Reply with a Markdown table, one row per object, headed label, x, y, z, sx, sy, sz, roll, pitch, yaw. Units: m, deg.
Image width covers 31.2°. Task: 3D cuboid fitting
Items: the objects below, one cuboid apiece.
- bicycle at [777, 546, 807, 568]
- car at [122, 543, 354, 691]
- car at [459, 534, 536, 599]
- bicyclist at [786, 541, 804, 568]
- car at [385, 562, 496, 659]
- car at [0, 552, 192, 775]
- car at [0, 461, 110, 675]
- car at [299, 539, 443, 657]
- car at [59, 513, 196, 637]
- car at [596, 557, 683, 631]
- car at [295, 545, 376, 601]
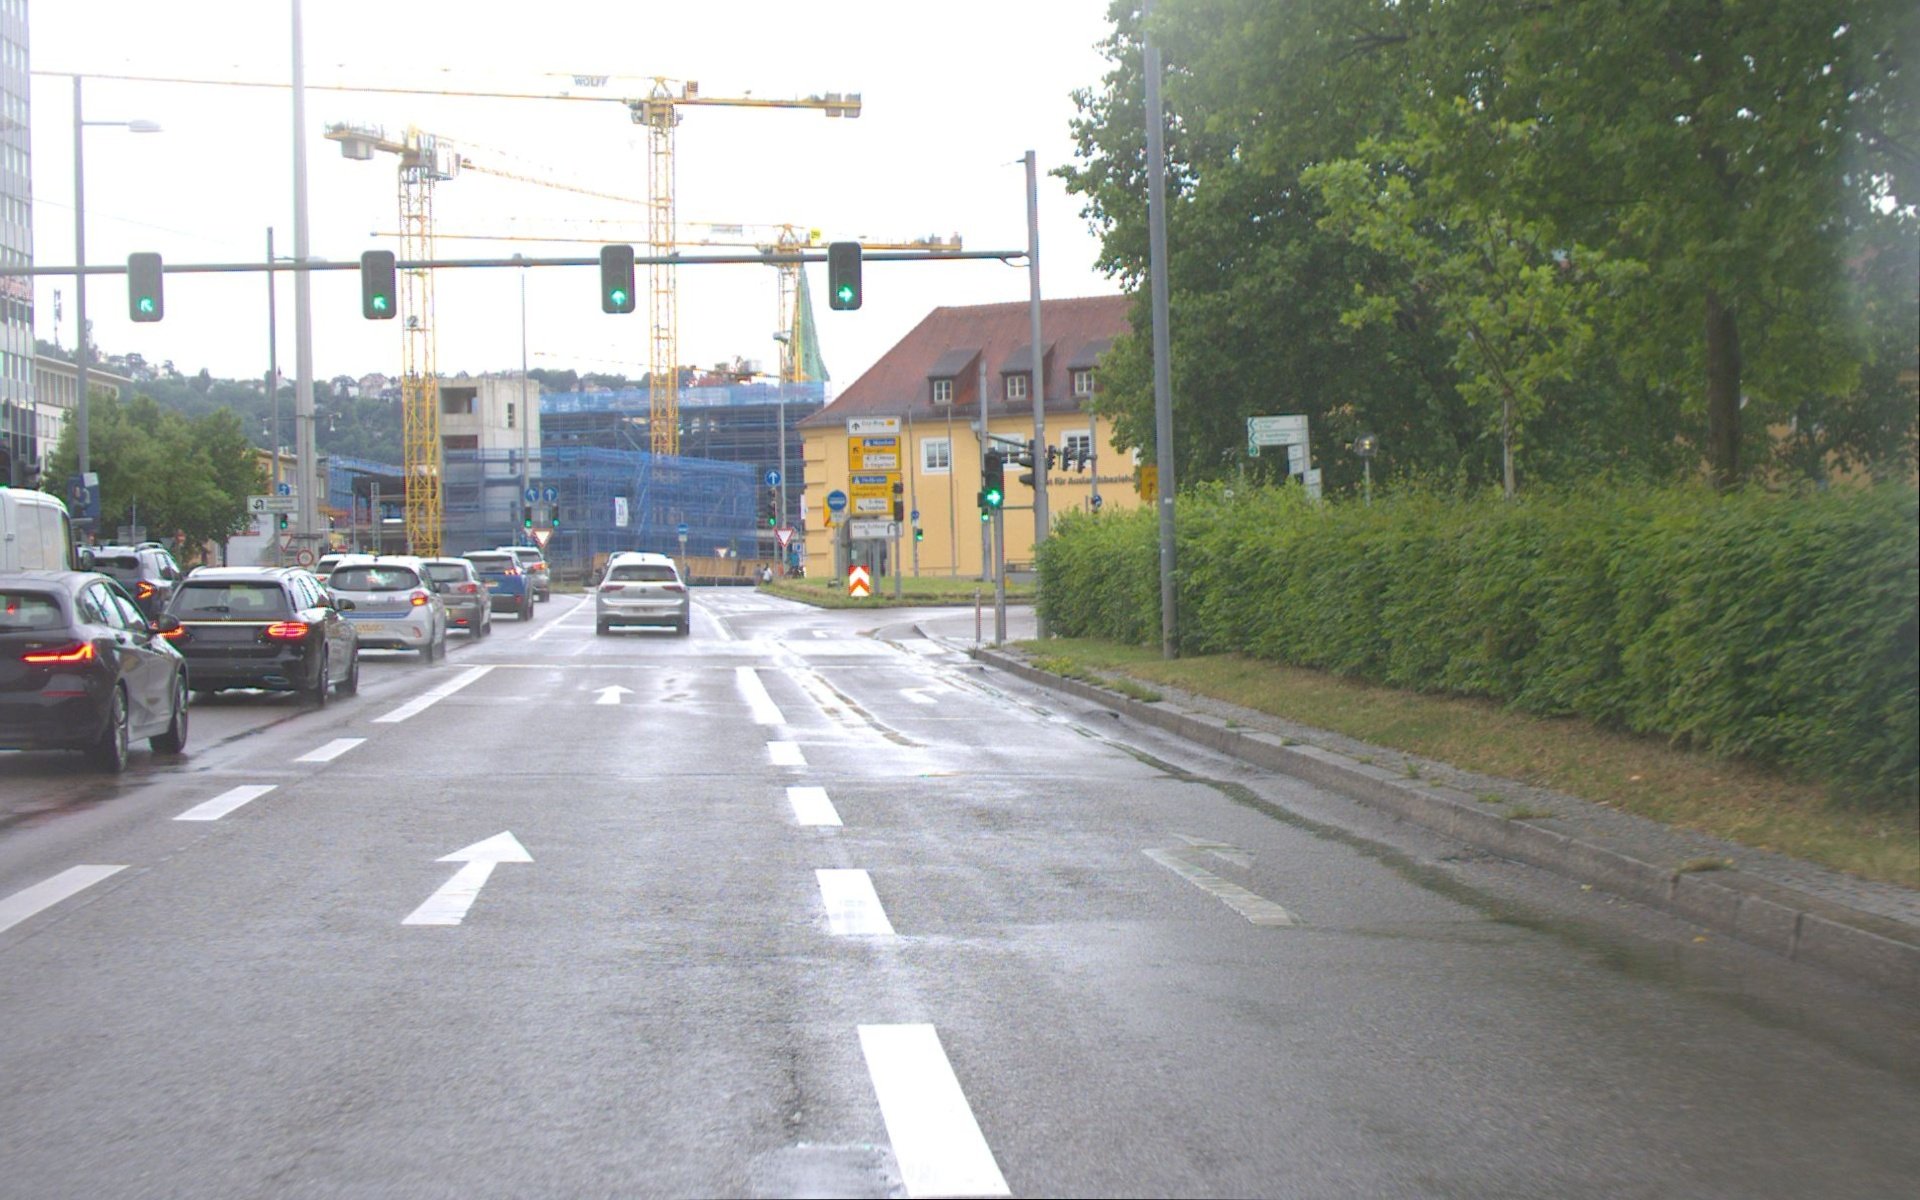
| label | x | y | z | sx | sy | sz | roll | pitch | yaw |
| --- | --- | --- | --- | --- | --- | --- | --- | --- | --- |
| bicycle | -8.087 | -2.049 | 165.485 | 0.880 | 1.006 | 1.993 | 0 | -1 | -19 |
| car | -7.568 | 0.190 | 36.330 | 1.829 | 1.489 | 3.399 | 0 | -1 | -2 |
| car | -10.162 | -0.717 | 75.671 | 1.493 | 1.365 | 3.033 | 0 | -1 | -4 |
| bicyclist | -7.934 | -2.202 | 165.280 | 0.703 | 1.271 | 0.635 | 0 | -1 | -20 |
| car | -9.416 | 0.203 | 62.496 | 1.716 | 1.721 | 3.495 | 0 | -1 | -4 |
| car | -6.831 | 0.403 | 25.321 | 1.753 | 1.466 | 4.223 | 0 | 1 | -5 |
| car | -11.426 | -0.328 | 39.581 | 2.292 | 2.306 | 5.006 | 0 | -1 | -3 |
| car | -8.563 | -0.009 | 50.194 | 1.880 | 1.647 | 3.458 | 0 | -1 | -7 |
| car | -11.766 | -0.328 | 48.721 | 1.464 | 1.700 | 3.142 | 0 | -1 | -6 |
| car | -6.001 | -0.106 | 64.590 | 1.444 | 1.354 | 2.412 | 0 | -1 | -1 |
| car | -14.389 | -0.615 | 79.266 | 1.551 | 1.256 | 2.580 | 0 | -1 | -4 |
